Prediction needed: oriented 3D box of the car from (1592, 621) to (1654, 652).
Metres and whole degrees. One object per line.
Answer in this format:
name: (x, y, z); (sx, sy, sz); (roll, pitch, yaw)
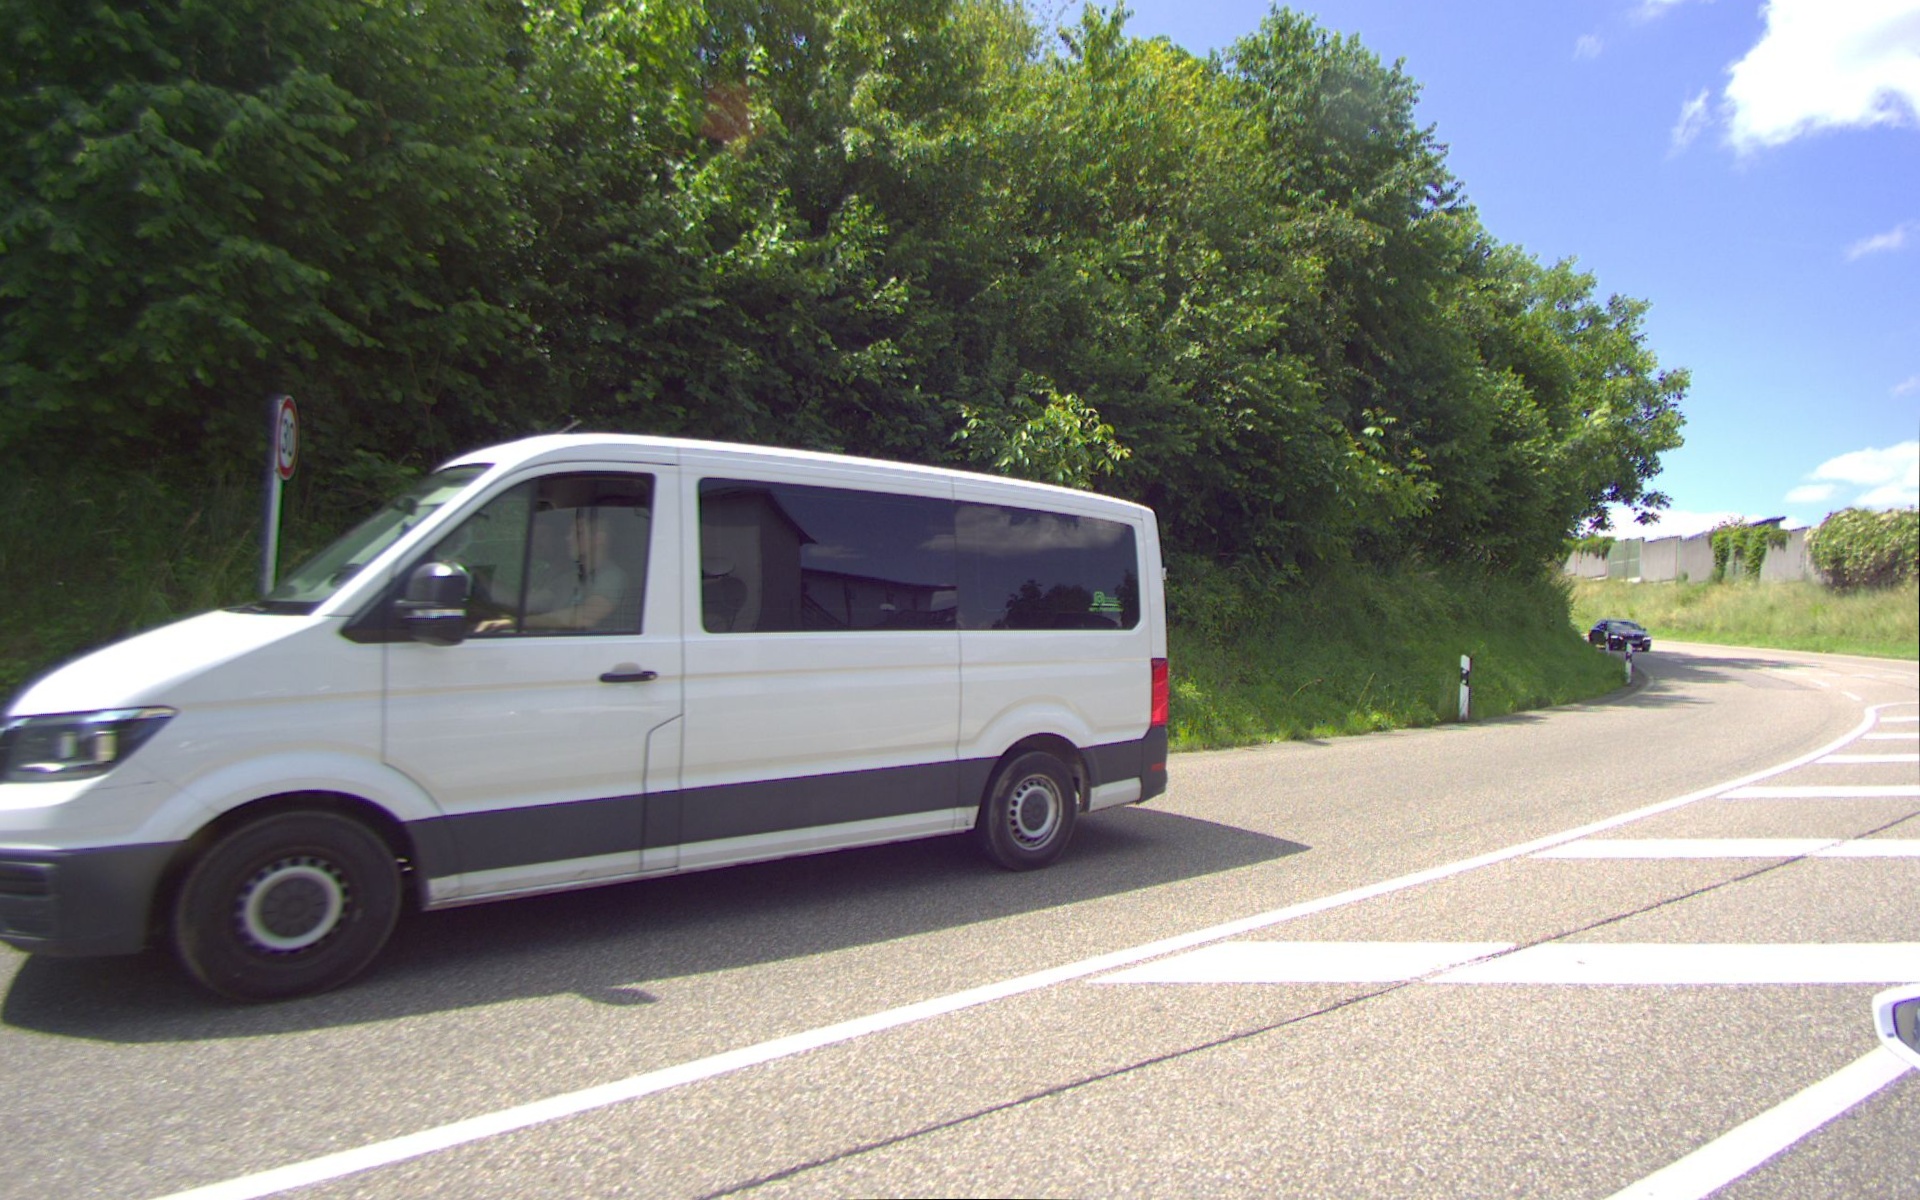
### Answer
car: (31.744, 1.758, 48.223); (1.657, 1.438, 4.343); (0, -2, 22)

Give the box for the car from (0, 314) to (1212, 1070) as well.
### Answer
car: (-1.307, 0.399, 5.644); (5.892, 2.320, 2.070); (3, -2, -37)
